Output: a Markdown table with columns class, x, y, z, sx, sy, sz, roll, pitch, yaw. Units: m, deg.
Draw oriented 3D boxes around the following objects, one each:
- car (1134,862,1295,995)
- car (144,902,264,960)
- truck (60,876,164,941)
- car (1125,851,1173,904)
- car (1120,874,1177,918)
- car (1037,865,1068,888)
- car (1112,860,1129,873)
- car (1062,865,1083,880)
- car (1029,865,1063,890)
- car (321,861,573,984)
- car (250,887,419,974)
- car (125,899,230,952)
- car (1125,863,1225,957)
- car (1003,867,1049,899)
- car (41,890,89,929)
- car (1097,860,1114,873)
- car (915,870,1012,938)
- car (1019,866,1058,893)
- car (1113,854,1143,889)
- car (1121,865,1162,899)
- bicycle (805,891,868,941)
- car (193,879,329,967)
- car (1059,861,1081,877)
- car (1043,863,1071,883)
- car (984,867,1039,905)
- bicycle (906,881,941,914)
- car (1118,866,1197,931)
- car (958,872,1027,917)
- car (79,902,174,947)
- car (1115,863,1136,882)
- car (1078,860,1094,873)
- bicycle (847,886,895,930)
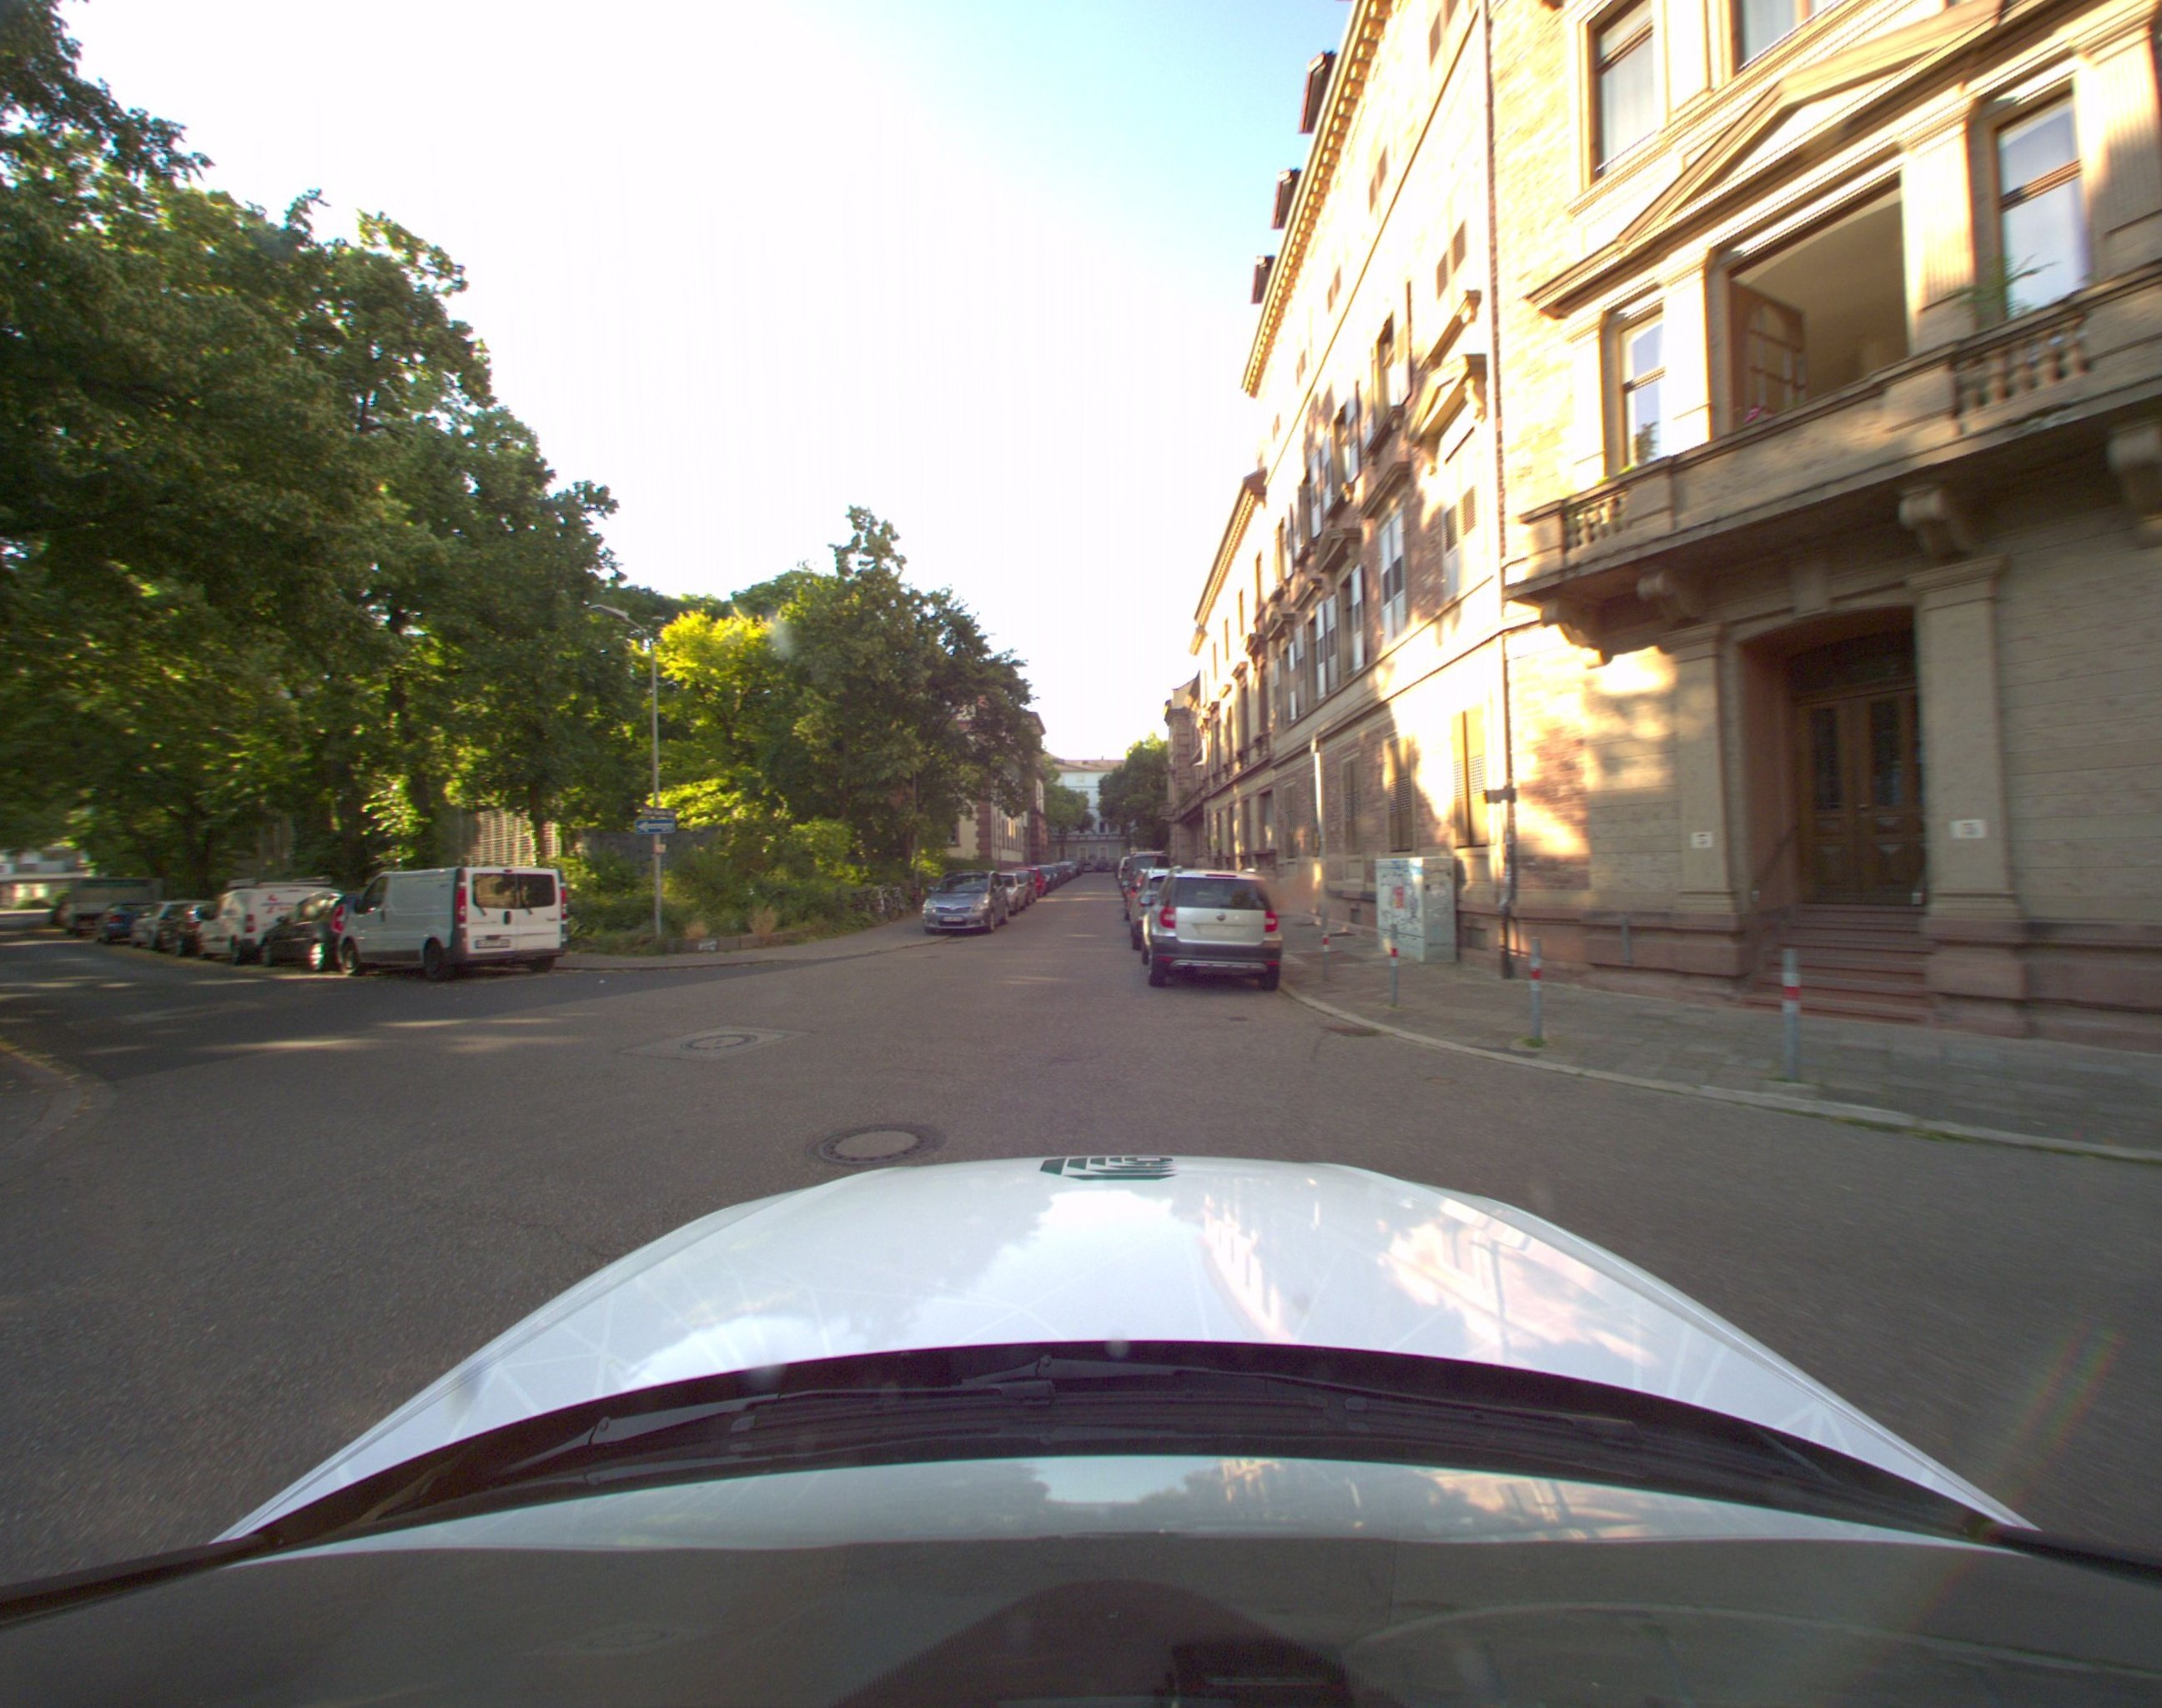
| class | x | y | z | sx | sy | sz | roll | pitch | yaw |
| --- | --- | --- | --- | --- | --- | --- | --- | --- | --- |
| car | 1.866 | 1.009 | 12.656 | 1.908 | 1.657 | 4.188 | 2 | -1 | 2 |
| car | -24.119 | 2.062 | 22.369 | 3.554 | 1.386 | 1.586 | -2 | -1 | 32 |
| truck | -38.980 | 2.145 | 32.740 | 4.326 | 2.352 | 2.389 | -2 | -1 | 36 |
| car | 2.770 | 0.949 | 34.055 | 1.791 | 2.073 | 3.957 | 1 | -1 | 2 |
| car | 2.260 | 1.392 | 28.126 | 1.791 | 1.345 | 3.957 | 1 | -1 | 2 |
| car | -2.010 | 1.598 | 58.030 | 1.819 | 1.500 | 3.933 | 2 | -1 | 3 |
| car | 5.413 | 1.799 | 112.895 | 1.989 | 1.684 | 3.994 | 0 | -3 | -3 |
| car | -0.862 | 1.886 | 83.883 | 1.819 | 1.500 | 3.933 | 2 | -1 | 3 |
| car | -2.236 | 1.520 | 52.959 | 1.819 | 1.500 | 3.933 | 2 | -1 | 3 |
| car | -11.931 | 1.207 | 15.283 | 4.600 | 2.003 | 1.962 | -2 | -1 | 27 |
| car | -16.066 | 1.577 | 17.494 | 3.664 | 1.637 | 1.586 | -2 | -1 | 29 |
| car | -28.021 | 2.170 | 25.236 | 3.554 | 1.467 | 1.586 | -2 | -1 | 32 |
| car | 1.901 | 1.090 | 17.684 | 1.819 | 1.724 | 4.546 | 2 | -1 | 3 |
| car | -2.695 | 1.408 | 40.881 | 1.819 | 1.500 | 3.933 | 2 | -1 | 3 |
| car | -54.378 | 2.937 | 43.601 | 3.554 | 1.941 | 1.586 | -2 | -1 | 39 |
| car | 3.405 | 1.779 | 112.272 | 1.989 | 1.684 | 3.994 | 0 | -3 | -3 |
| car | -3.137 | 1.293 | 22.602 | 1.819 | 1.615 | 4.294 | 2 | -1 | 3 |
| car | -2.420 | 1.454 | 47.405 | 1.819 | 1.500 | 3.933 | 2 | -1 | 3 |
| car | 2.897 | 1.079 | 50.925 | 1.791 | 2.073 | 3.957 | 1 | -1 | 2 |
| car | 2.879 | 1.315 | 39.533 | 1.791 | 1.524 | 3.957 | 1 | -1 | 2 |
| bicycle | -6.117 | 1.527 | 20.542 | 0.594 | 1.101 | 2.630 | -2 | -1 | 4 |
| car | -19.968 | 1.604 | 19.792 | 3.851 | 1.904 | 1.586 | -2 | -1 | 33 |
| car | -1.044 | 1.452 | 78.791 | 1.819 | 1.500 | 3.933 | 2 | -1 | 3 |
| car | -1.852 | 1.485 | 64.003 | 1.819 | 1.500 | 3.933 | 2 | -1 | 3 |
| car | -2.901 | 1.332 | 34.767 | 1.819 | 1.478 | 3.933 | 2 | -1 | 3 |
| bicycle | -5.725 | 1.550 | 29.776 | 0.594 | 1.101 | 2.630 | -2 | -1 | 4 |
| car | 2.040 | 1.170 | 22.667 | 1.792 | 1.614 | 3.954 | 1 | -1 | 0 |
| car | -3.076 | 1.394 | 29.195 | 1.819 | 1.447 | 3.933 | 2 | -1 | 3 |
| car | -32.827 | 2.370 | 27.993 | 3.554 | 1.385 | 1.586 | -2 | -1 | 32 |
| car | 3.916 | 1.640 | 72.233 | 1.791 | 1.639 | 3.957 | 1 | -1 | 2 |
| car | 0.673 | 1.782 | 112.068 | 1.989 | 1.684 | 3.994 | 0 | -3 | -3 |
| bicycle | -5.959 | 1.513 | 23.260 | 0.594 | 1.101 | 2.628 | -1 | -1 | 2 |
